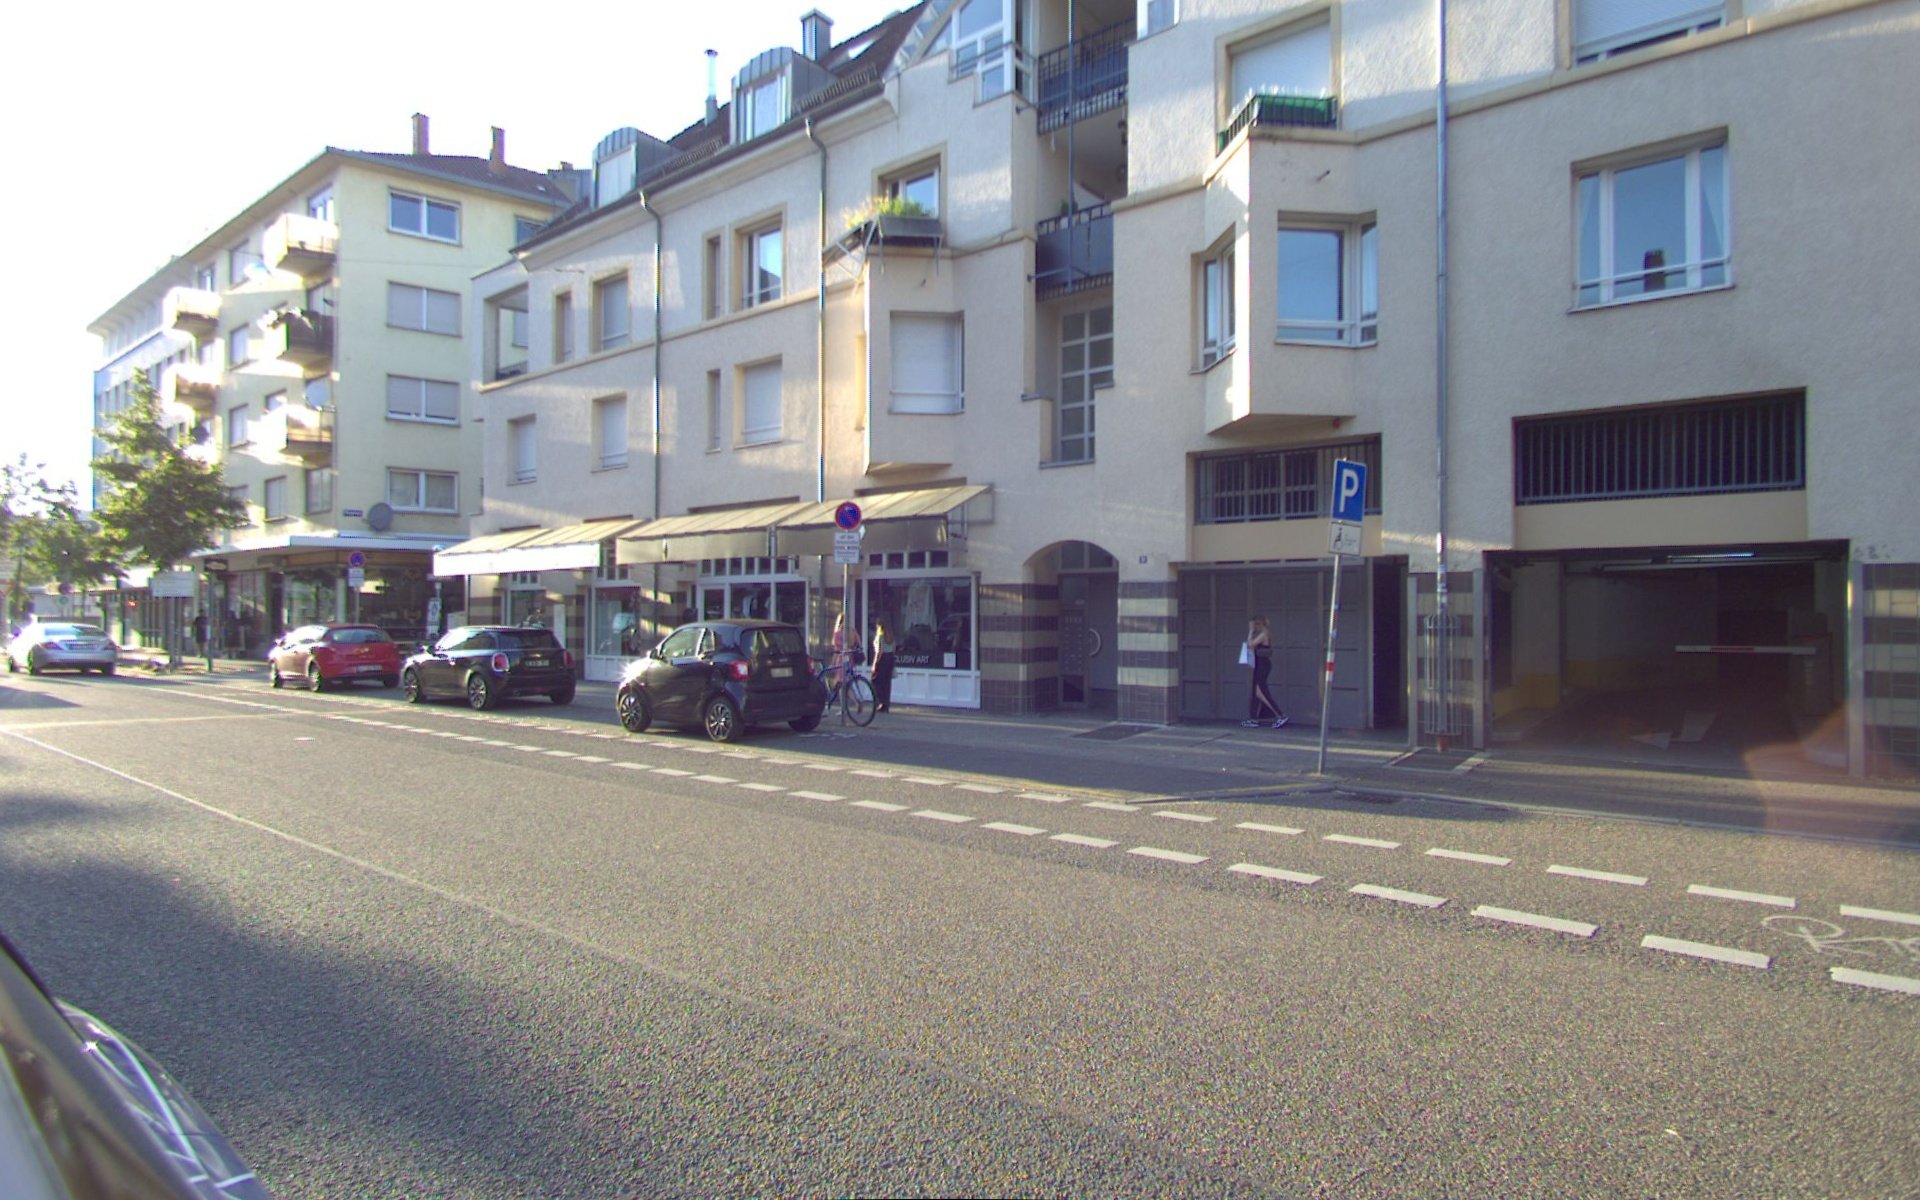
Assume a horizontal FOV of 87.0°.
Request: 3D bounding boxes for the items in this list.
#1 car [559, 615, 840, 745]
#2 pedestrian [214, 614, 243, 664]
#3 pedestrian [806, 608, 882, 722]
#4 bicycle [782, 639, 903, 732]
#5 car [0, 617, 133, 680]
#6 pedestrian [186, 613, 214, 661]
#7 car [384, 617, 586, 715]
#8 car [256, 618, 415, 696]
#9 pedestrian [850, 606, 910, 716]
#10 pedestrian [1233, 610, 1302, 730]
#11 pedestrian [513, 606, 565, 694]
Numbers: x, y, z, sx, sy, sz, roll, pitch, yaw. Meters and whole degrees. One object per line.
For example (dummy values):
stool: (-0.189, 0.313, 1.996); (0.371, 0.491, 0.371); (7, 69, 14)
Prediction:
car: (-3.742, 1.019, 14.299); (3.960, 1.592, 1.773); (-1, -2, 37)
pedestrian: (-27.030, 1.425, 37.396); (0.666, 1.805, 0.711); (-1, -1, 39)
pedestrian: (-1.814, 0.987, 15.800); (1.039, 1.713, 0.624); (-1, -2, 38)
bicycle: (-1.720, 1.193, 14.577); (1.977, 1.215, 0.552); (-1, -2, 42)
car: (-24.852, 1.319, 28.084); (4.398, 1.617, 1.974); (-1, -3, 38)
pedestrian: (-28.829, 1.398, 38.403); (0.666, 1.805, 0.711); (-1, -1, 39)
car: (-8.693, 1.115, 18.422); (3.781, 1.592, 1.773); (-1, -2, 37)
car: (-14.002, 1.206, 22.645); (3.781, 1.592, 1.773); (-1, -2, 37)
pedestrian: (-1.295, 0.966, 16.357); (0.831, 1.713, 0.554); (-1, -2, 38)
pedestrian: (4.211, 0.937, 13.862); (0.765, 1.584, 0.535); (1, -2, -35)
pedestrian: (-8.566, 1.002, 20.585); (0.737, 1.747, 0.711); (-1, -1, 39)
